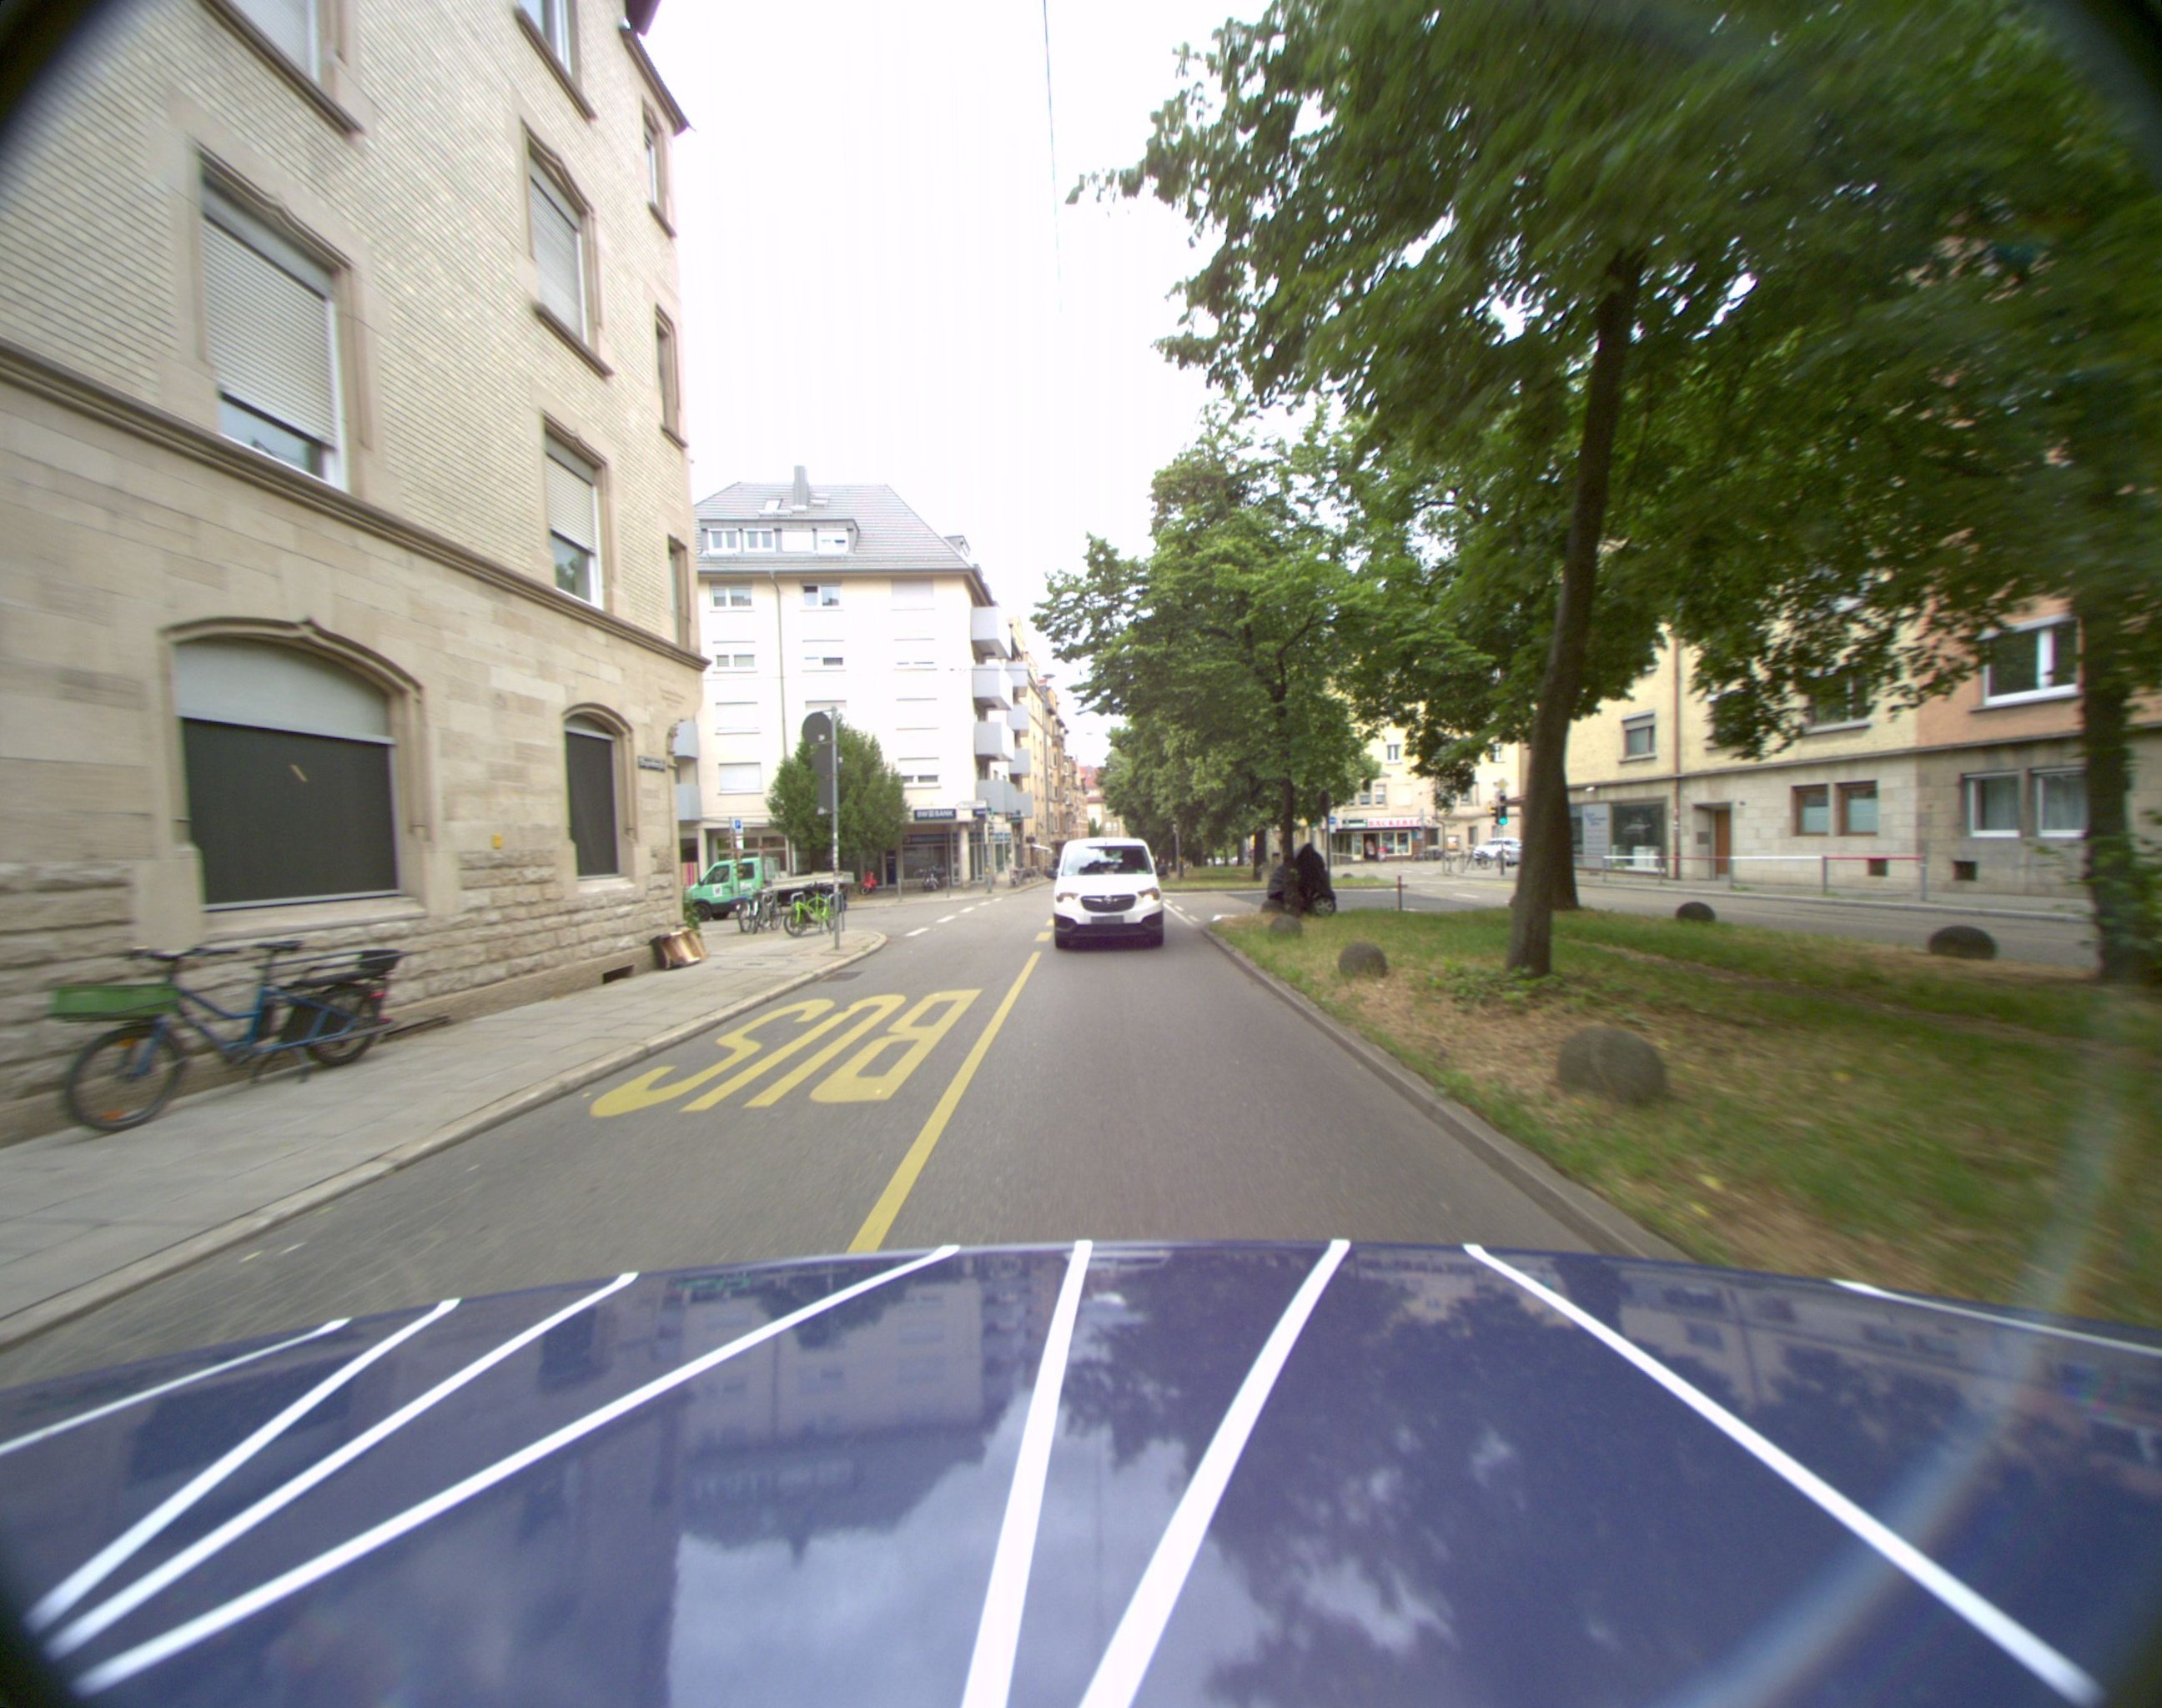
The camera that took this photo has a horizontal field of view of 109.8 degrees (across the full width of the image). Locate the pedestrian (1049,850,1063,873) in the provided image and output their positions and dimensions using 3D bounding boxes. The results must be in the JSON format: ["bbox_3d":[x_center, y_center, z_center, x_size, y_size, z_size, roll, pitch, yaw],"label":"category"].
[{"bbox_3d":[-2.226,0.648,67.857,1.083,2.002,1.204,-3,1,3],"label":"pedestrian"}]

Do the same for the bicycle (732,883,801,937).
[{"bbox_3d":[-7.581,1.322,18.453,0.683,1.142,2.059,-4,-1,2],"label":"bicycle"}]

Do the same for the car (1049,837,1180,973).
[{"bbox_3d":[0.560,0.673,12.676,1.745,1.831,4.343,-2,1,3],"label":"car"}]

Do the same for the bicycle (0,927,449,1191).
[{"bbox_3d":[-5.880,1.231,5.331,0.683,1.143,2.483,-2,1,2],"label":"bicycle"}]

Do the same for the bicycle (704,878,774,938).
[{"bbox_3d":[-8.318,1.287,18.617,0.459,1.269,2.386,-3,0,3],"label":"bicycle"}]

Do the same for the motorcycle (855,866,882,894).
[{"bbox_3d":[-9.559,1.151,34.195,0.591,1.190,1.931,0,0,3],"label":"motorcycle"}]

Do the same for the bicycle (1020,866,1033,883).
[{"bbox_3d":[-2.967,1.104,41.278,0.442,0.902,1.285,-3,0,6],"label":"bicycle"}]

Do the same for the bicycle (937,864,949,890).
[{"bbox_3d":[-6.606,1.096,36.435,0.400,1.197,1.284,-4,1,-5],"label":"bicycle"}]

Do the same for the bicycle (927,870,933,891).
[{"bbox_3d":[-7.049,1.239,35.512,0.141,0.902,1.249,-2,1,-5],"label":"bicycle"}]

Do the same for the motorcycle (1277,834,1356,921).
[{"bbox_3d":[4.452,0.454,14.610,0.825,1.521,2.625,0,-2,3],"label":"motorcycle"}]

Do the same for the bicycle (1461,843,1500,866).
[{"bbox_3d":[21.486,0.021,40.871,0.684,1.142,2.057,-4,-1,-10],"label":"bicycle"}]

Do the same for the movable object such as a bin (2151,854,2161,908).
[{"bbox_3d":[18.587,0.452,12.614,0.513,0.921,0.779,-3,1,2],"label":"movable object such as a bin"}]

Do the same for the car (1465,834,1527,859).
[{"bbox_3d":[29.081,-0.530,53.234,3.812,1.533,1.979,-3,1,-26],"label":"car"}]

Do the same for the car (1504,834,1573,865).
[{"bbox_3d":[25.998,-0.261,43.180,3.646,1.532,1.686,-3,-1,-29],"label":"car"}]

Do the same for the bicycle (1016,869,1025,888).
[{"bbox_3d":[-3.075,1.240,38.814,0.154,0.902,1.285,-3,0,6],"label":"bicycle"}]

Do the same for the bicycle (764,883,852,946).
[{"bbox_3d":[-5.752,1.236,16.267,0.683,1.142,2.941,-2,-1,2],"label":"bicycle"}]

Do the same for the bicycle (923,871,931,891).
[{"bbox_3d":[-7.368,1.265,36.342,0.184,0.902,1.236,-3,0,-5],"label":"bicycle"}]

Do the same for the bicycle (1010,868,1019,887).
[{"bbox_3d":[-3.373,1.172,38.427,0.154,0.902,1.285,-3,0,6],"label":"bicycle"}]

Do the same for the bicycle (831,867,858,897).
[{"bbox_3d":[-10.558,1.237,33.944,0.439,1.248,1.884,-3,0,5],"label":"bicycle"}]

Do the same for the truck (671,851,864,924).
[{"bbox_3d":[-11.216,1.202,27.633,5.858,2.094,2.554,-4,-1,-6],"label":"truck"}]

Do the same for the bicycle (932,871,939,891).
[{"bbox_3d":[-6.747,1.251,35.227,0.120,0.902,1.284,-3,0,-5],"label":"bicycle"}]

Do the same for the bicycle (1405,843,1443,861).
[{"bbox_3d":[23.838,-0.121,52.867,2.345,1.094,0.775,-3,1,21],"label":"bicycle"}]
